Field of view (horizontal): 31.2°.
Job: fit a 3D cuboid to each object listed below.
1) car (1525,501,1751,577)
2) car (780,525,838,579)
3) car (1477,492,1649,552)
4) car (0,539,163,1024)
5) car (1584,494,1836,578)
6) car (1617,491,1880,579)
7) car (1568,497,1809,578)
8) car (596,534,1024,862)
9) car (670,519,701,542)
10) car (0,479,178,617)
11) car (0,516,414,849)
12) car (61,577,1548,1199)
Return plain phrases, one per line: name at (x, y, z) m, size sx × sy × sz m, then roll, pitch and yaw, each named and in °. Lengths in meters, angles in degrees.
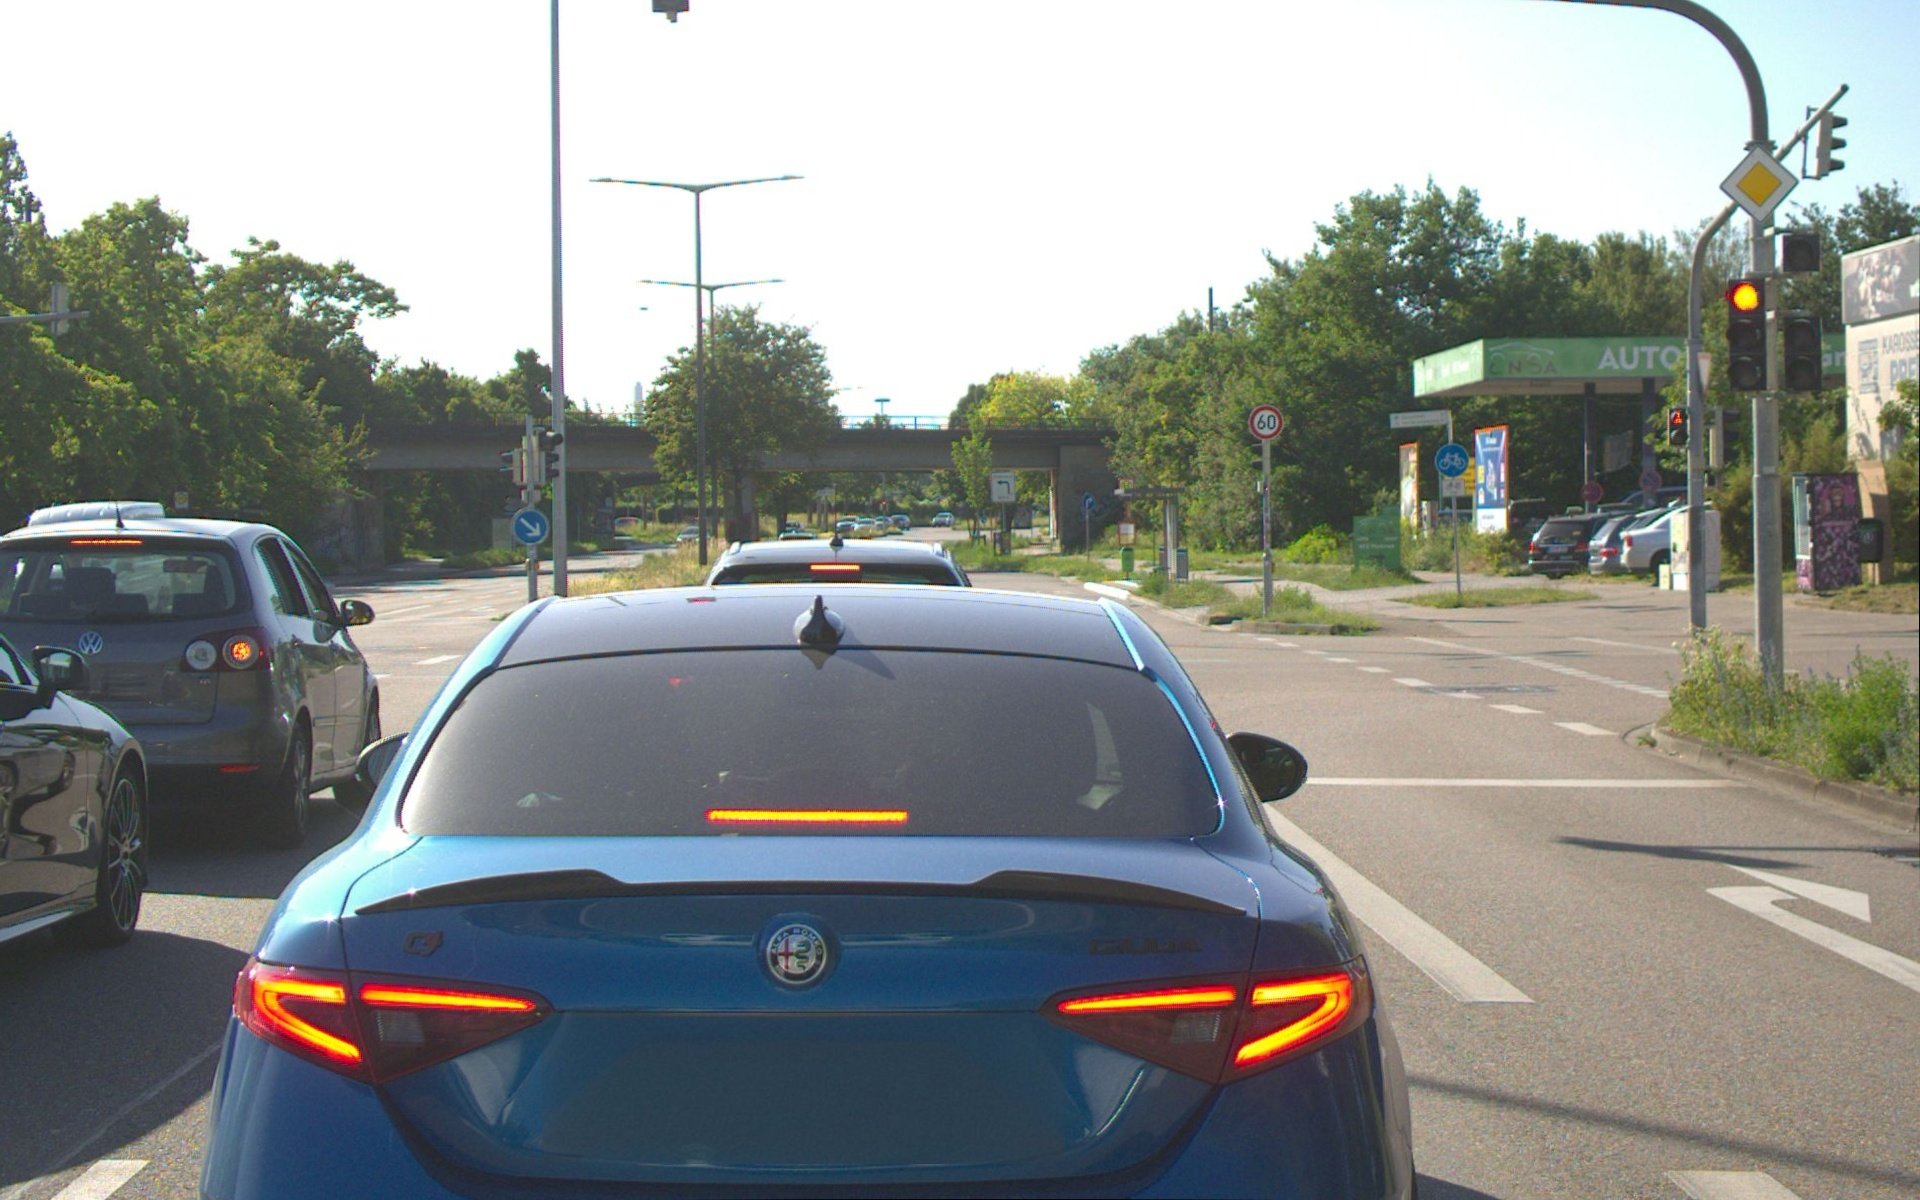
car at (14.597, -1.319, 74.154) m, size 4.489 × 1.449 × 1.858 m, roll -2°, pitch 1°, yaw 1°
car at (-5.225, -1.651, 119.373) m, size 1.891 × 1.809 × 4.000 m, roll 1°, pitch 1°, yaw -1°
car at (17.046, -2.202, 97.318) m, size 4.551 × 1.485 × 1.765 m, roll -2°, pitch 1°, yaw 1°
car at (-3.829, 0.542, 10.619) m, size 1.796 × 1.485 × 4.476 m, roll 1°, pitch 1°, yaw -2°
car at (14.660, -1.253, 67.350) m, size 4.489 × 1.449 × 1.858 m, roll -2°, pitch 1°, yaw 1°
car at (14.777, -1.215, 64.571) m, size 4.489 × 1.449 × 1.858 m, roll -2°, pitch 1°, yaw 1°
car at (14.817, -1.270, 70.104) m, size 4.489 × 1.449 × 1.858 m, roll -2°, pitch 1°, yaw 1°
car at (-0.717, 0.406, 17.242) m, size 1.850 × 1.413 × 4.403 m, roll 1°, pitch 1°, yaw -2°
car at (-18.814, -4.746, 235.652) m, size 1.759 × 1.485 × 4.478 m, roll -2°, pitch 1°, yaw 0°
car at (-16.868, -1.001, 66.704) m, size 2.022 × 2.439 × 5.822 m, roll -4°, pitch 1°, yaw -1°
car at (-3.994, 0.348, 17.719) m, size 1.759 × 1.485 × 4.403 m, roll 1°, pitch 1°, yaw -2°
car at (-0.262, 0.683, 6.609) m, size 1.895 × 1.413 × 4.403 m, roll 1°, pitch 1°, yaw -2°
